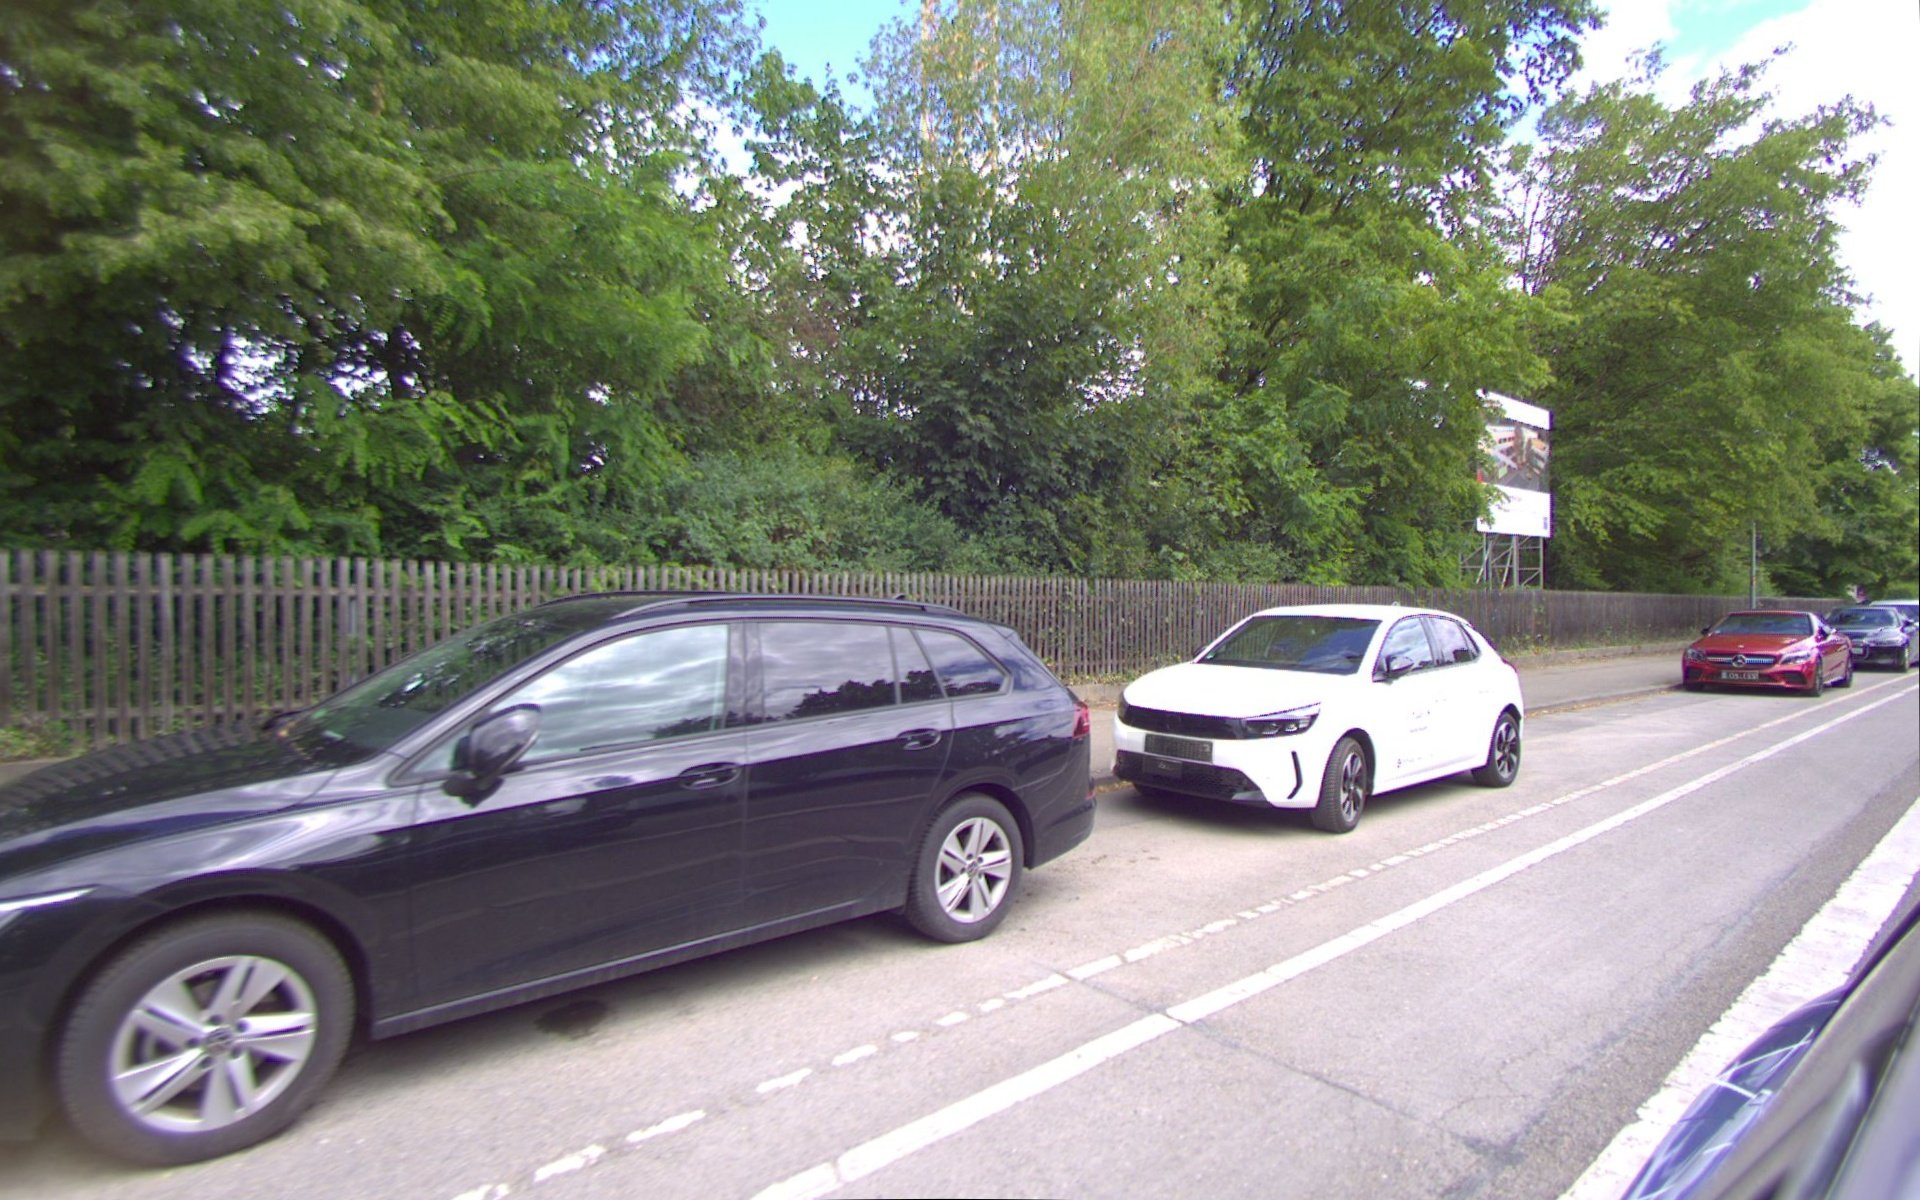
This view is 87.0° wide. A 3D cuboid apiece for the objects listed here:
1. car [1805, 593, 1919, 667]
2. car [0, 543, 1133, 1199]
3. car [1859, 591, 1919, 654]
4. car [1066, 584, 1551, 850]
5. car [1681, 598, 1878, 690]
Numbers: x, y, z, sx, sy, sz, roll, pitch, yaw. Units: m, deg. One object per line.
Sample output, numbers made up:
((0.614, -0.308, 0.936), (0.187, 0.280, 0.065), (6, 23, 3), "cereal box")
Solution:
((21.354, 0.634, 23.577), (4.598, 1.534, 1.819), (-1, 0, -41), "car")
((-1.396, 0.641, 4.158), (4.457, 1.529, 1.705), (0, -1, -40), "car")
((26.048, 0.556, 27.583), (4.346, 1.609, 1.865), (0, 0, -42), "car")
((2.835, 0.649, 7.822), (3.959, 1.529, 1.771), (-1, 1, -40), "car")
((14.486, 0.711, 17.812), (4.364, 1.432, 1.862), (1, -2, -40), "car")
